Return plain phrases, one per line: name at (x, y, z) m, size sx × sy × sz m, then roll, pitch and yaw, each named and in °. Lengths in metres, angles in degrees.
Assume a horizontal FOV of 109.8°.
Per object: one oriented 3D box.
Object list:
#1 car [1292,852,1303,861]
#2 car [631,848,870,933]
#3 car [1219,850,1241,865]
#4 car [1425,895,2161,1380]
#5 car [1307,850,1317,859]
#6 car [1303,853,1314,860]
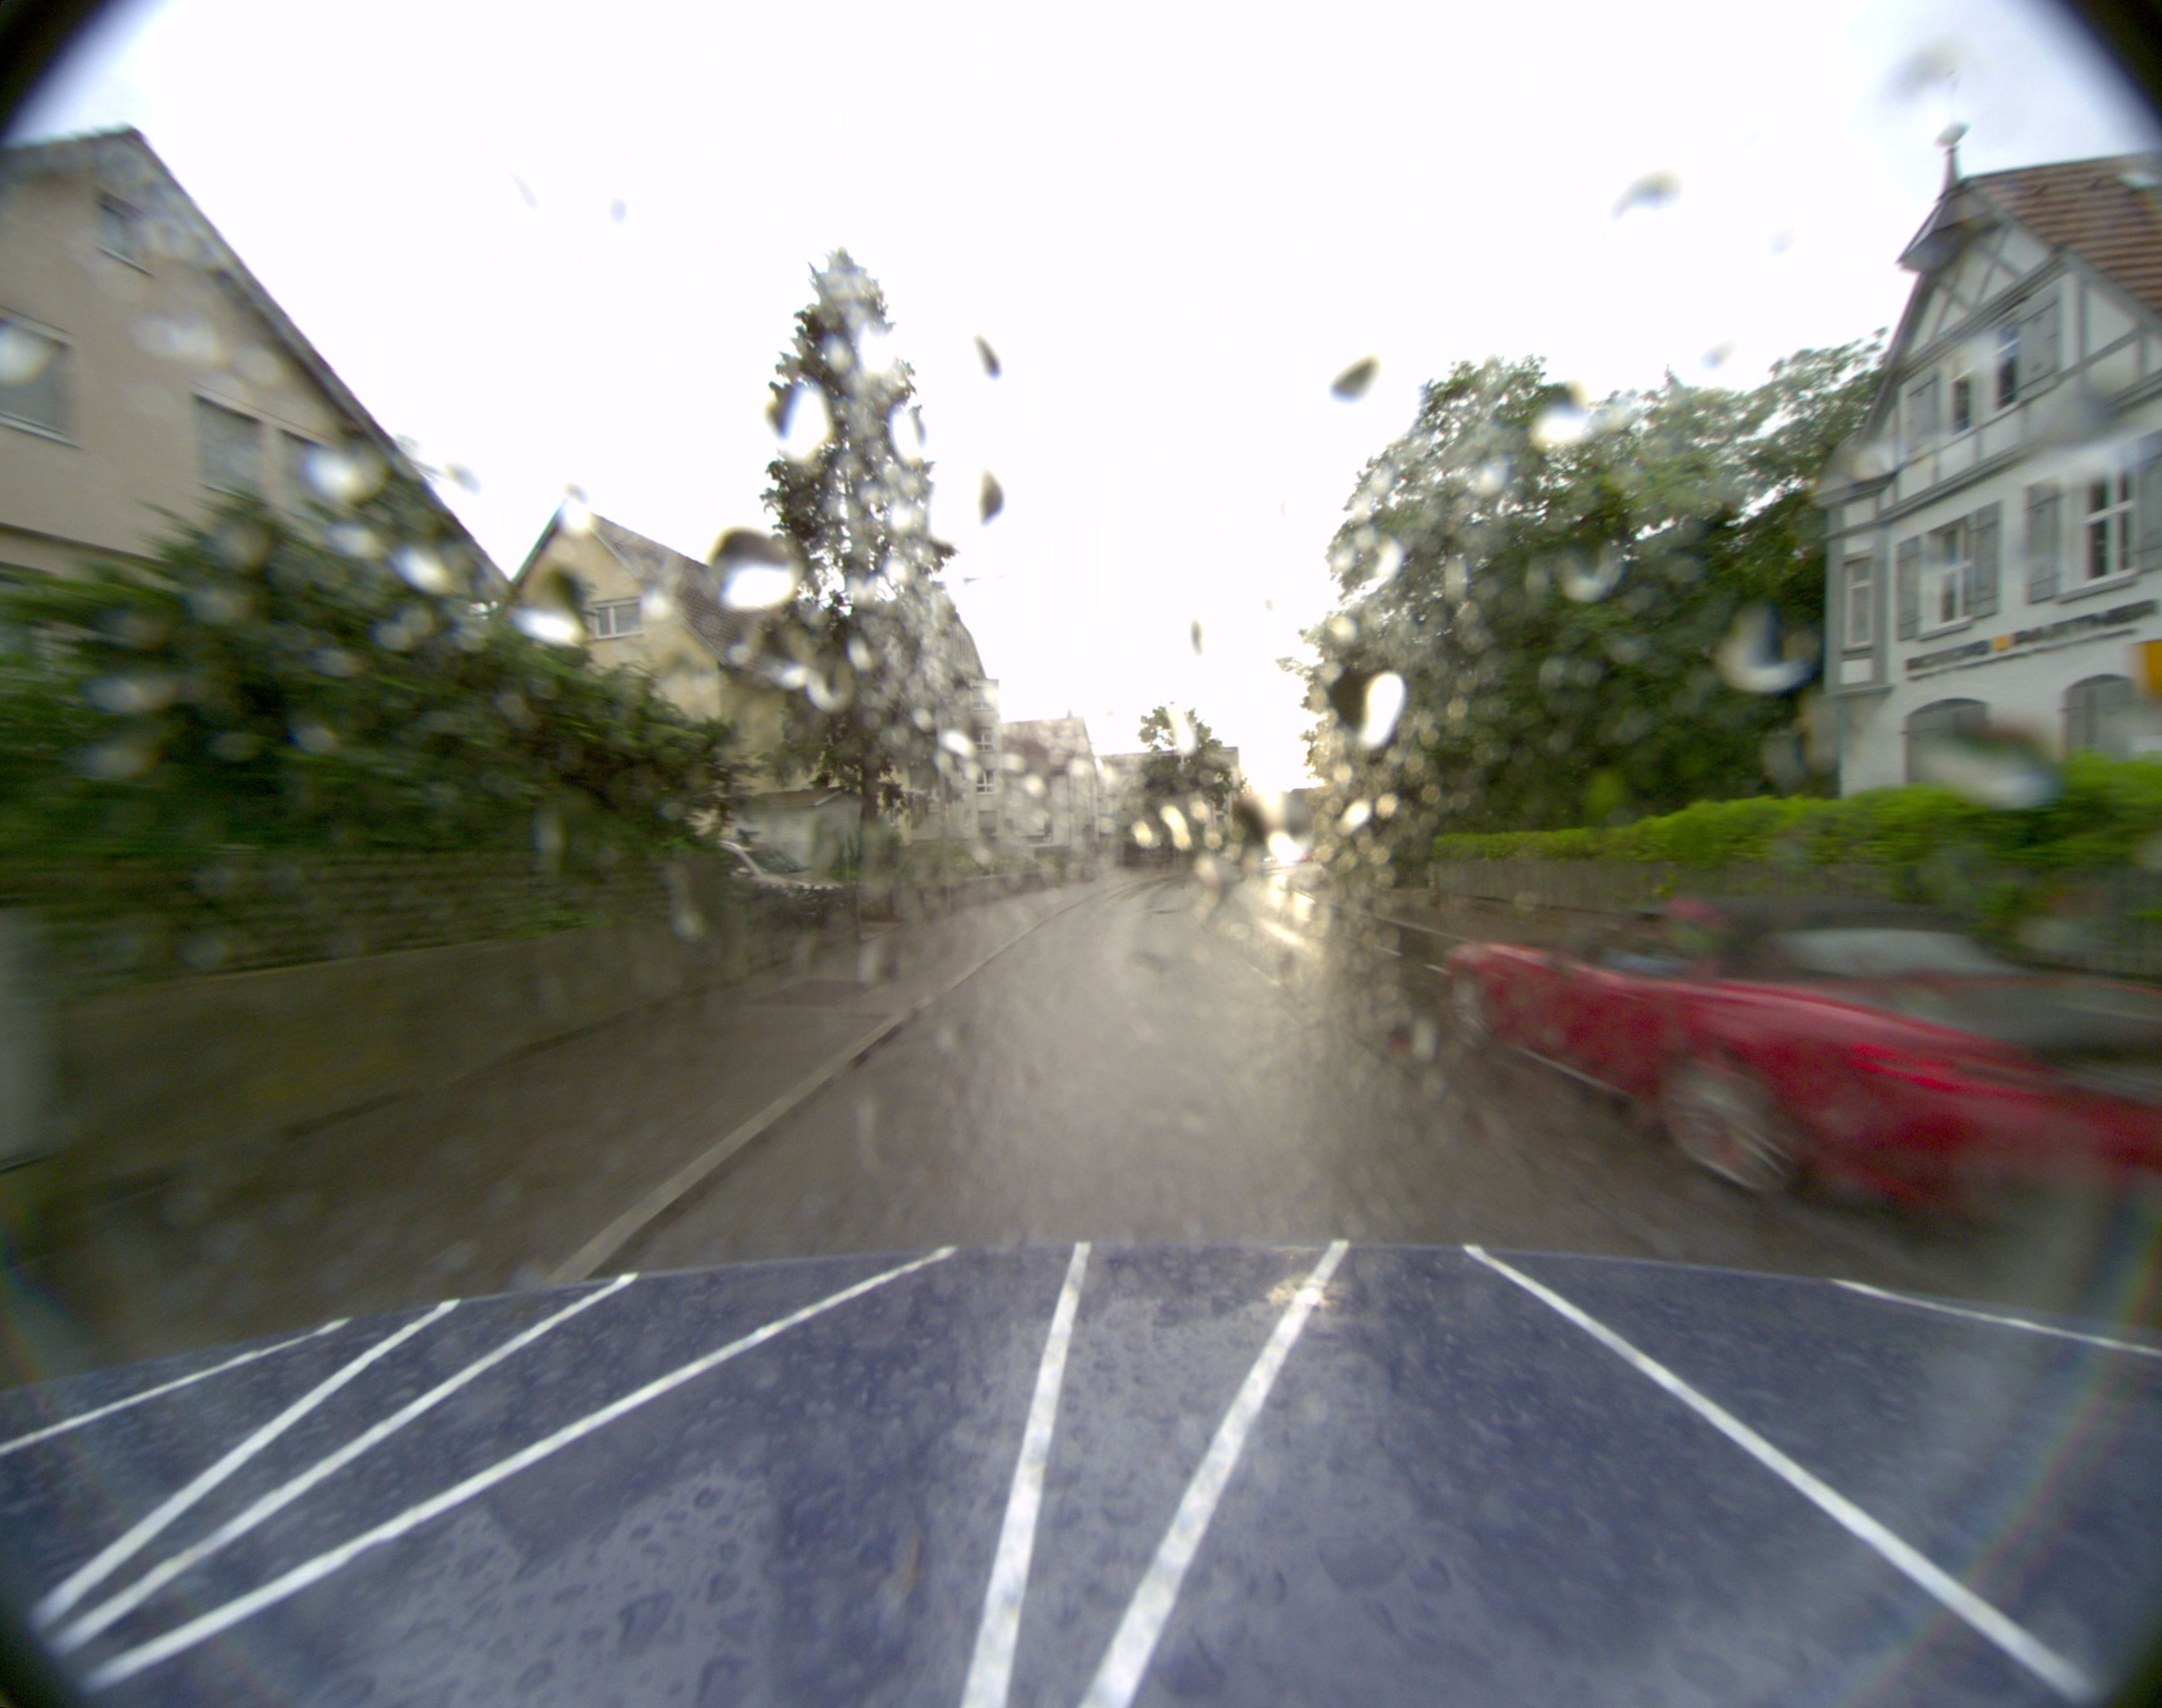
car at (39.345, 0.481, 137.950) m, size 1.801 × 1.431 × 4.695 m, roll -2°, pitch -1°, yaw 15°
car at (-6.950, 0.722, 16.148) m, size 4.323 × 1.643 × 1.965 m, roll -1°, pitch 0°, yaw 14°
car at (16.925, 0.359, 86.415) m, size 1.783 × 1.561 × 4.734 m, roll -4°, pitch -1°, yaw 18°
car at (3.567, 0.928, 4.159) m, size 1.683 × 1.139 × 4.001 m, roll -1°, pitch 0°, yaw 2°
car at (44.430, 0.154, 145.948) m, size 1.747 × 1.562 × 3.818 m, roll -5°, pitch -1°, yaw 17°
car at (47.269, 0.564, 157.854) m, size 1.740 × 1.346 × 4.064 m, roll -2°, pitch -1°, yaw 13°
